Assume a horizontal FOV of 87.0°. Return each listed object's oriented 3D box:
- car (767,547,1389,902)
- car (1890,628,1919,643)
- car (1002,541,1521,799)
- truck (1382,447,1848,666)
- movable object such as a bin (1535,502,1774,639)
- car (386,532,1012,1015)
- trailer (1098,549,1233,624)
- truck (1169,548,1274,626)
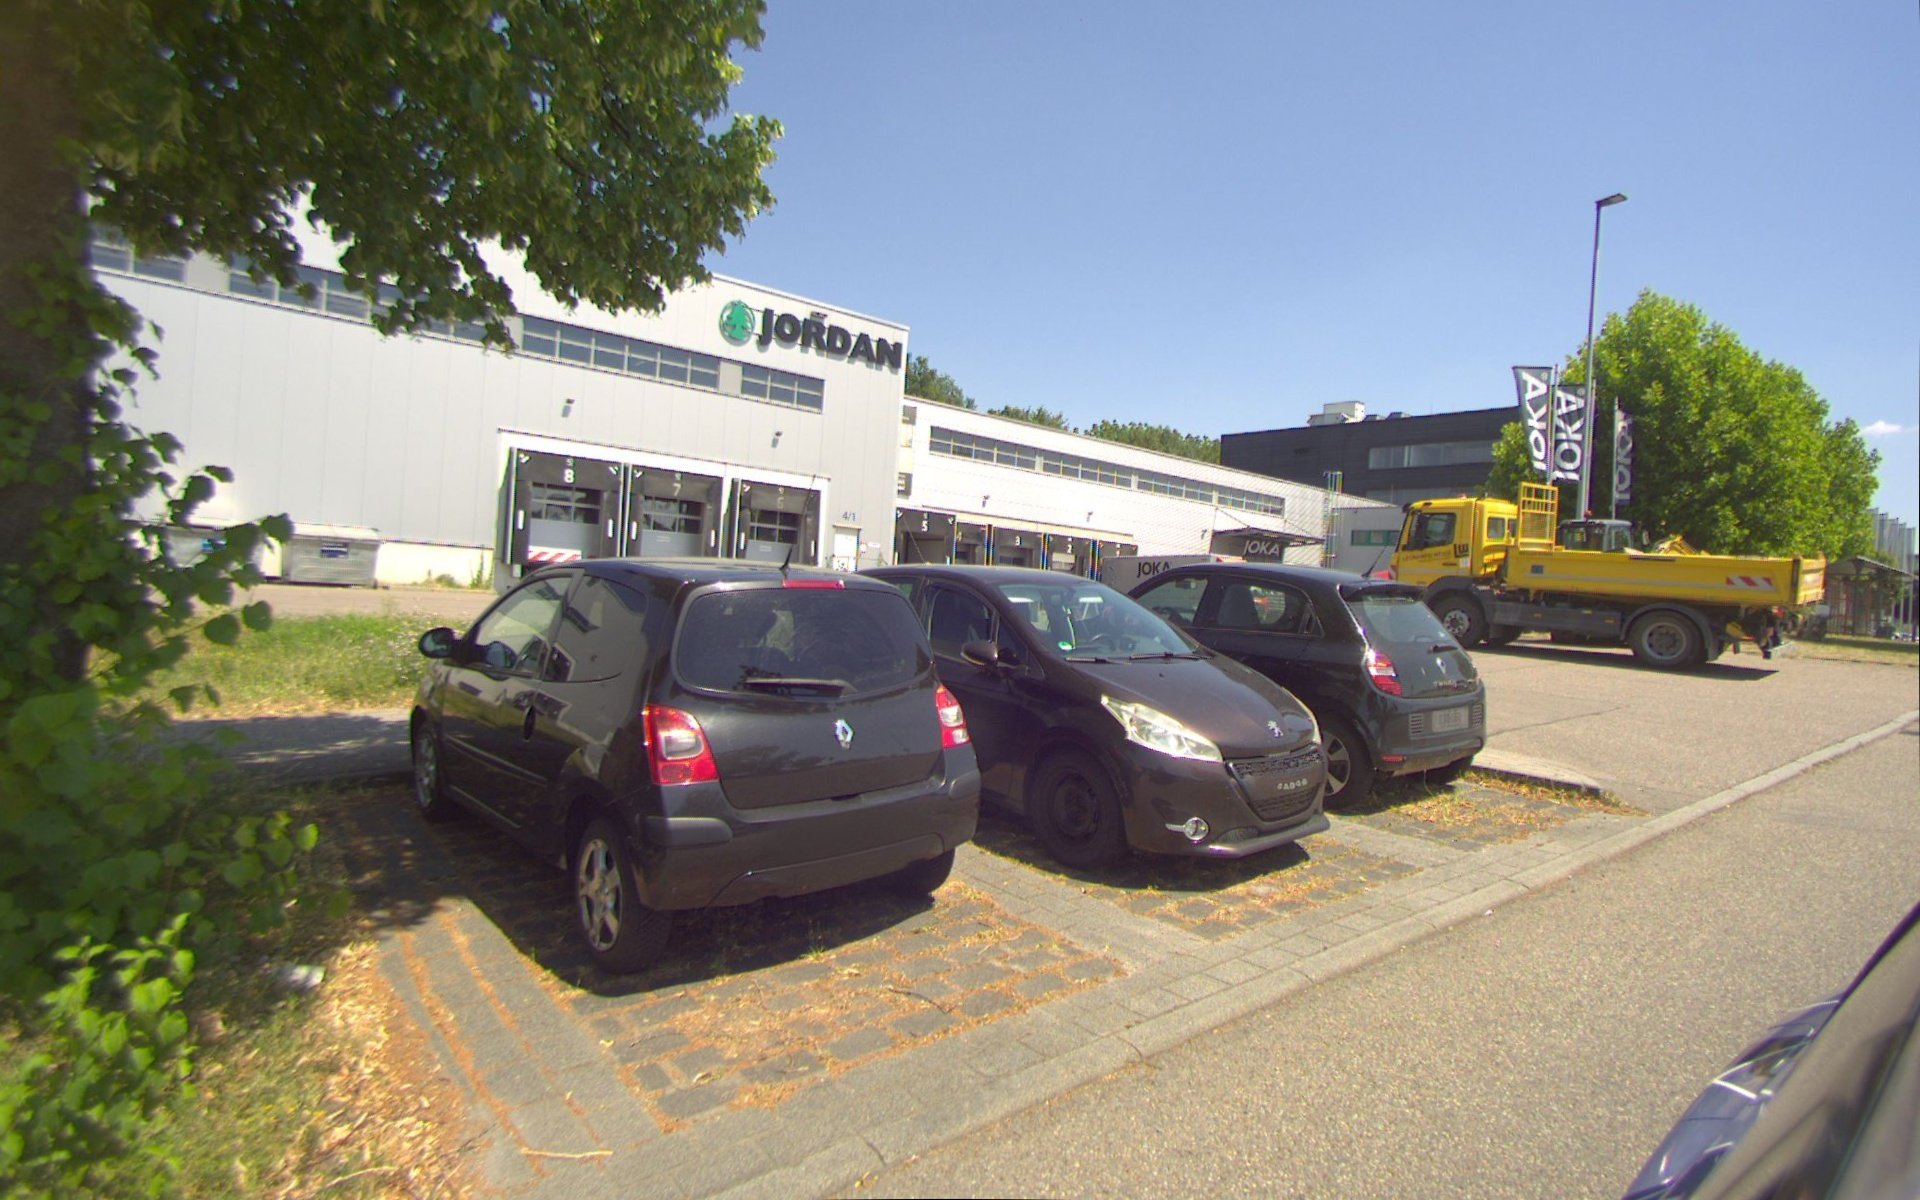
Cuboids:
[{"bbox_3d":[0.451,0.469,6.318,1.563,1.526,3.778,1,2,-40],"label":"car"},{"bbox_3d":[88.184,3.313,92.983,1.580,1.290,3.841,2,1,-40],"label":"car"},{"bbox_3d":[2.153,0.349,8.065,1.597,1.480,3.671,1,3,-38],"label":"car"},{"bbox_3d":[11.244,-0.799,17.918,2.552,3.174,6.414,-1,3,-42],"label":"truck"},{"bbox_3d":[15.132,-0.581,21.889,6.451,2.613,2.001,0,1,-34],"label":"movable object such as a bin"},{"bbox_3d":[-1.570,0.476,5.037,1.599,1.497,3.610,1,2,-40],"label":"car"},{"bbox_3d":[10.380,-0.707,51.644,2.138,3.503,6.703,6,-3,-40],"label":"trailer"},{"bbox_3d":[12.629,-0.632,48.977,2.119,3.496,4.340,6,-3,-40],"label":"truck"}]
